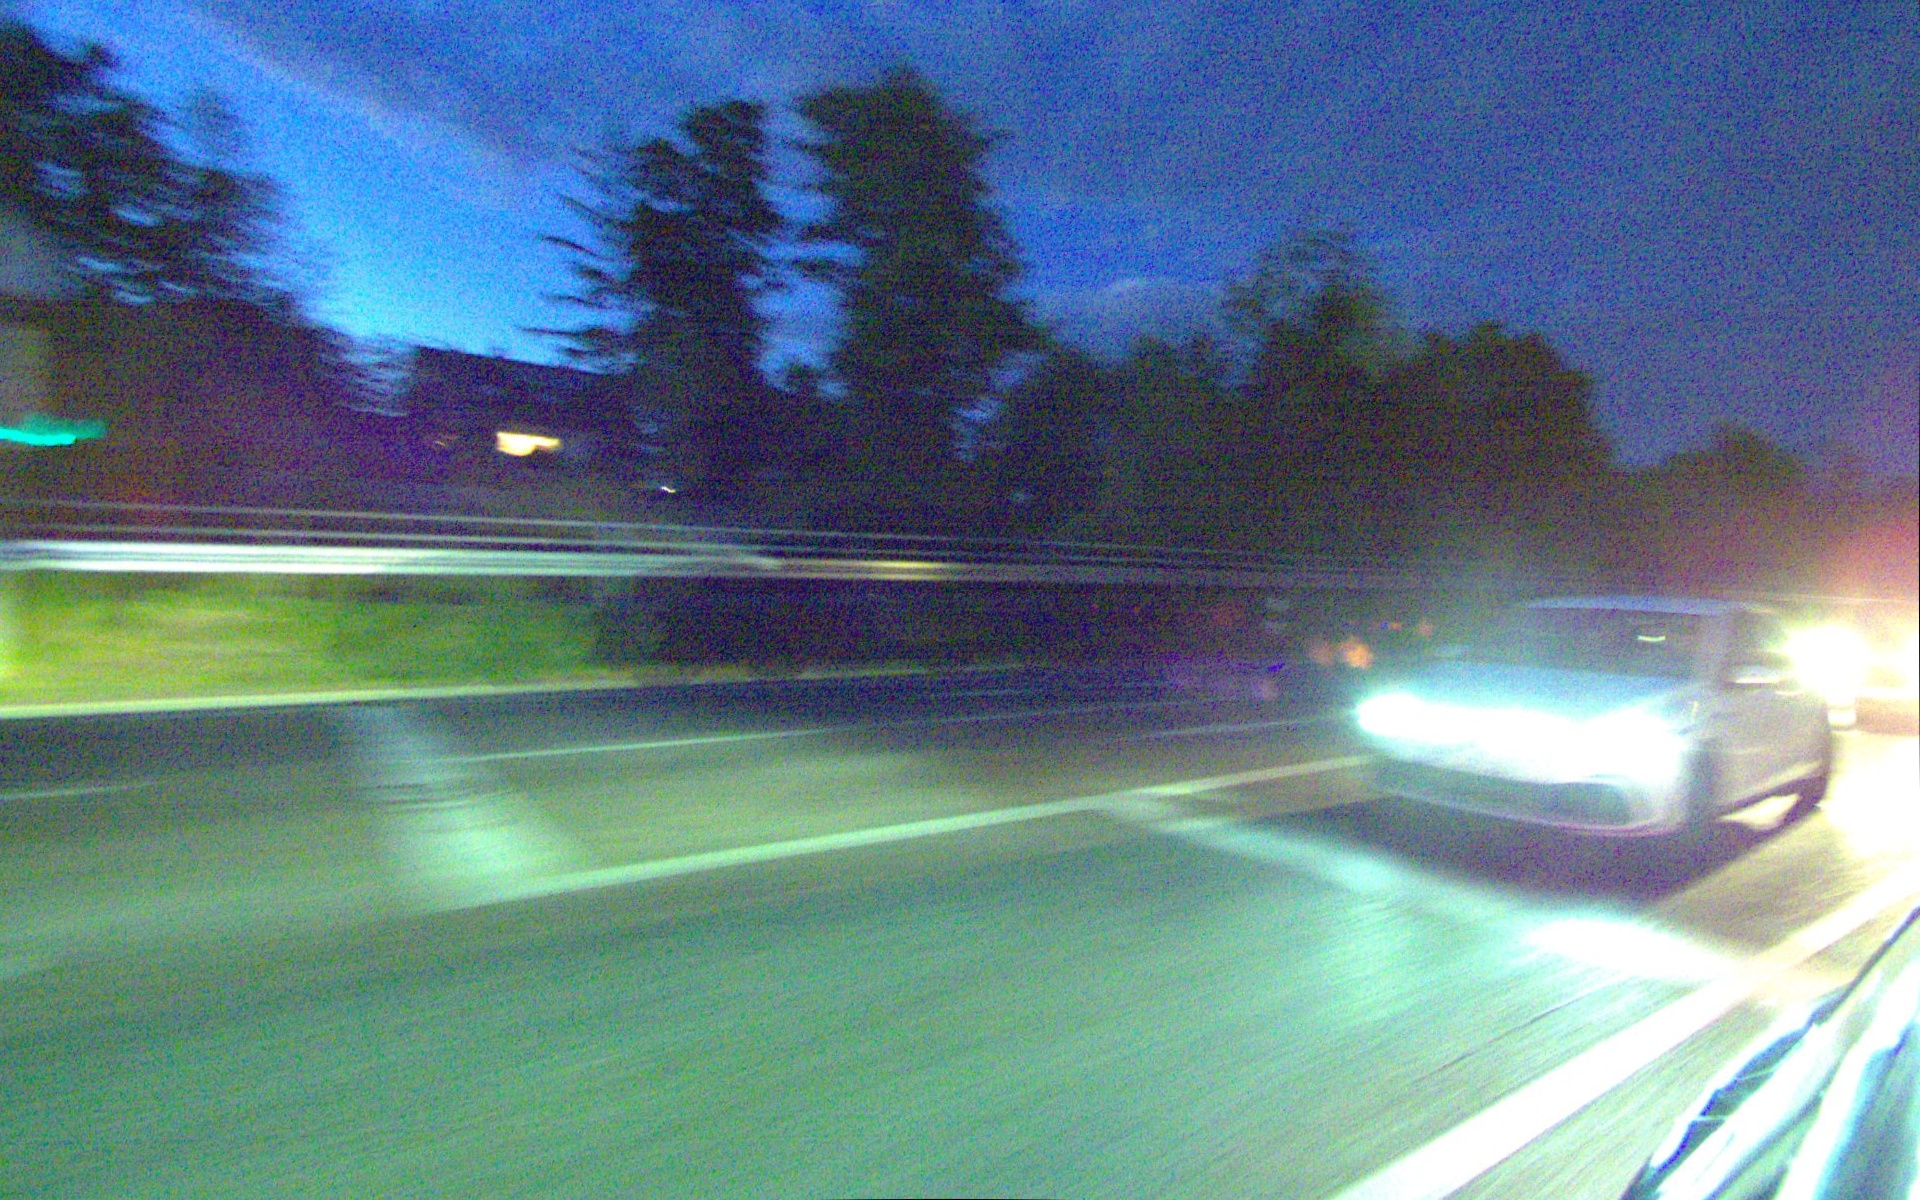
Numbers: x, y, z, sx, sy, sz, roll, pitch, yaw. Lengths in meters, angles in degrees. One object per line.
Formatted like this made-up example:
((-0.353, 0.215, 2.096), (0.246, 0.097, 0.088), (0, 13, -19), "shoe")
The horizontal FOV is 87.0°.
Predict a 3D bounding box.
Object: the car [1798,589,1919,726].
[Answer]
((11.736, 0.644, 12.232), (3.424, 1.469, 1.658), (0, 1, -36), "car")

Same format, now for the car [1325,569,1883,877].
((4.476, 0.588, 6.827), (4.113, 1.477, 1.764), (0, 1, -36), "car")
